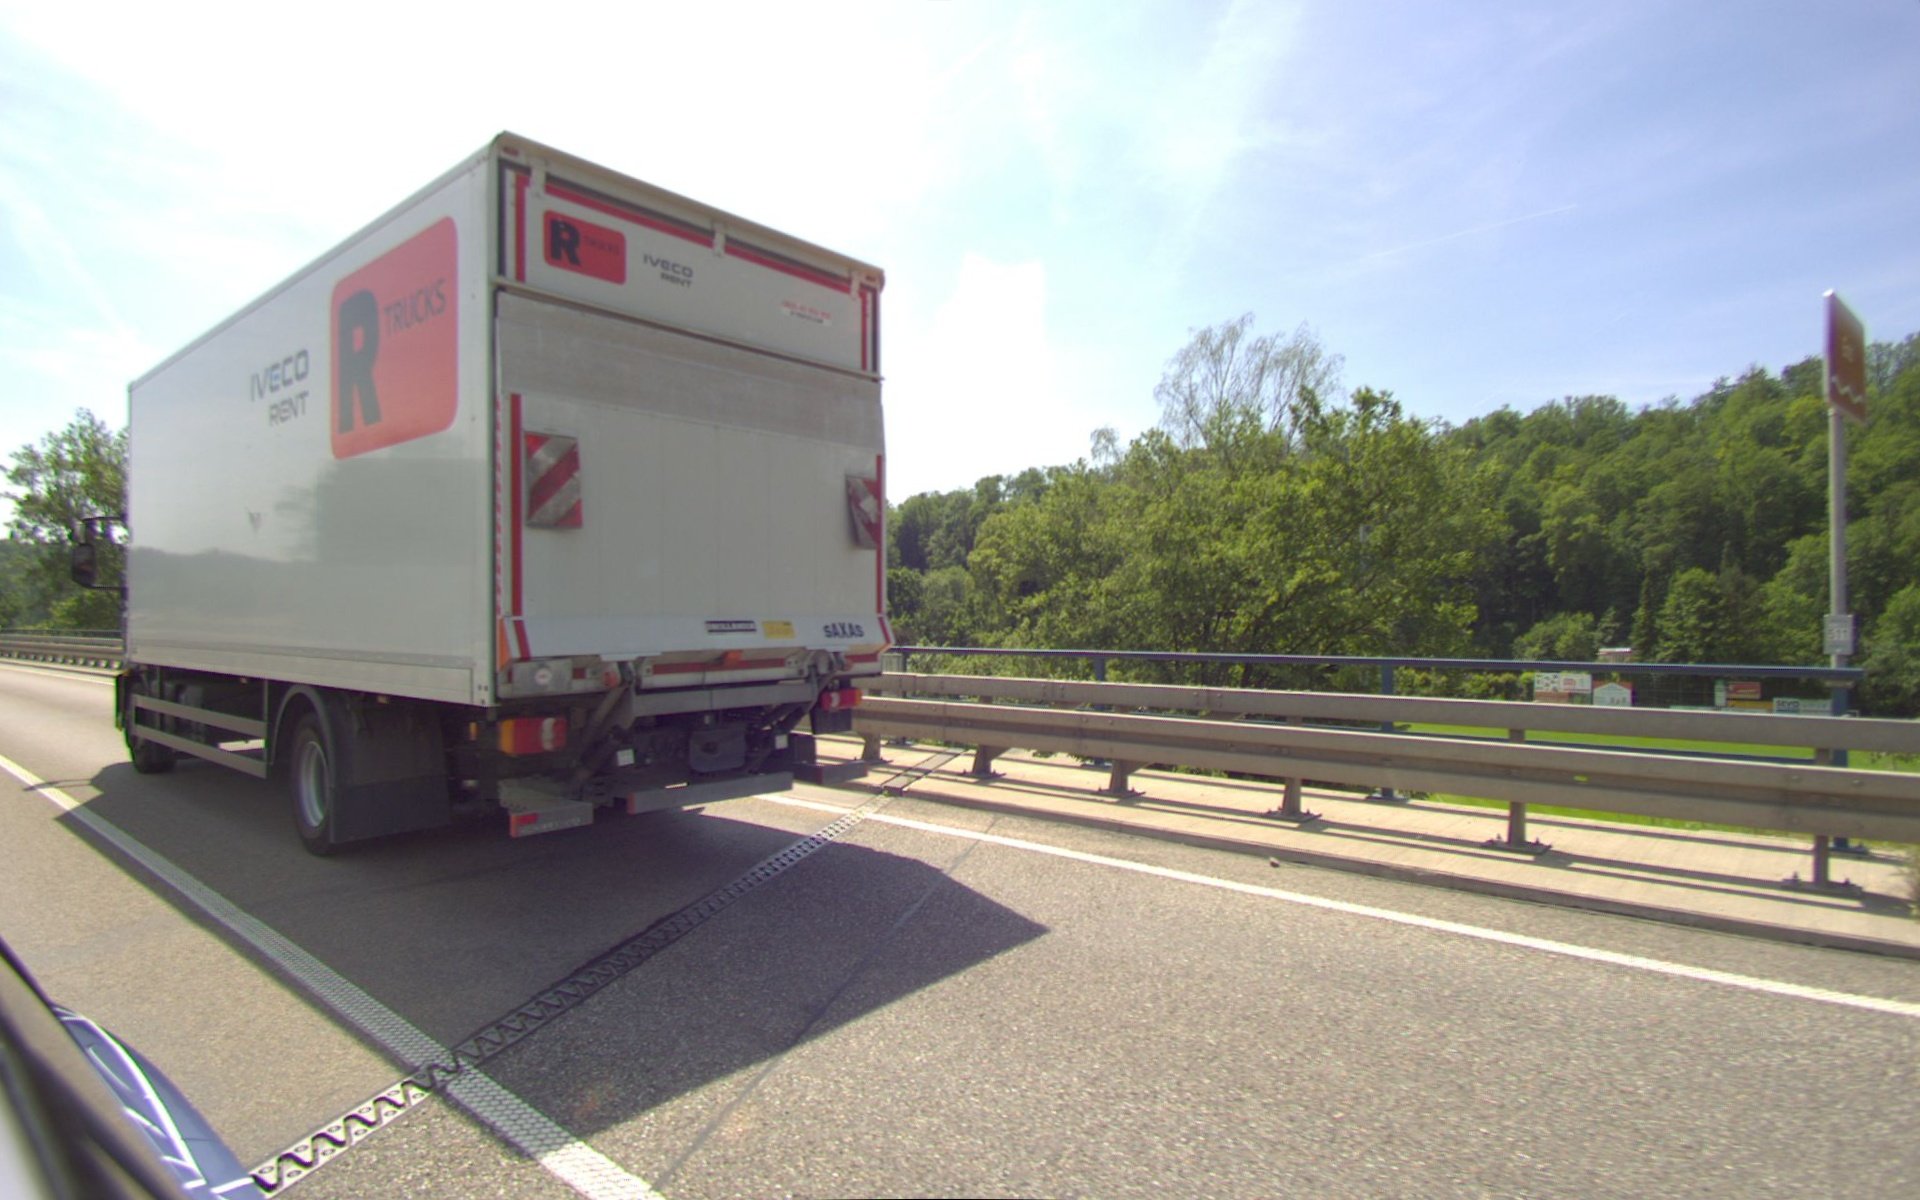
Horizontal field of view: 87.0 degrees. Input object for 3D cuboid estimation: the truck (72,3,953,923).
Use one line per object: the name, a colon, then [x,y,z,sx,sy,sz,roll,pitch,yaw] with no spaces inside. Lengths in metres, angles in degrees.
truck: [-4.663,-0.516,8.491,9.702,3.832,2.884,-1,-1,41]
